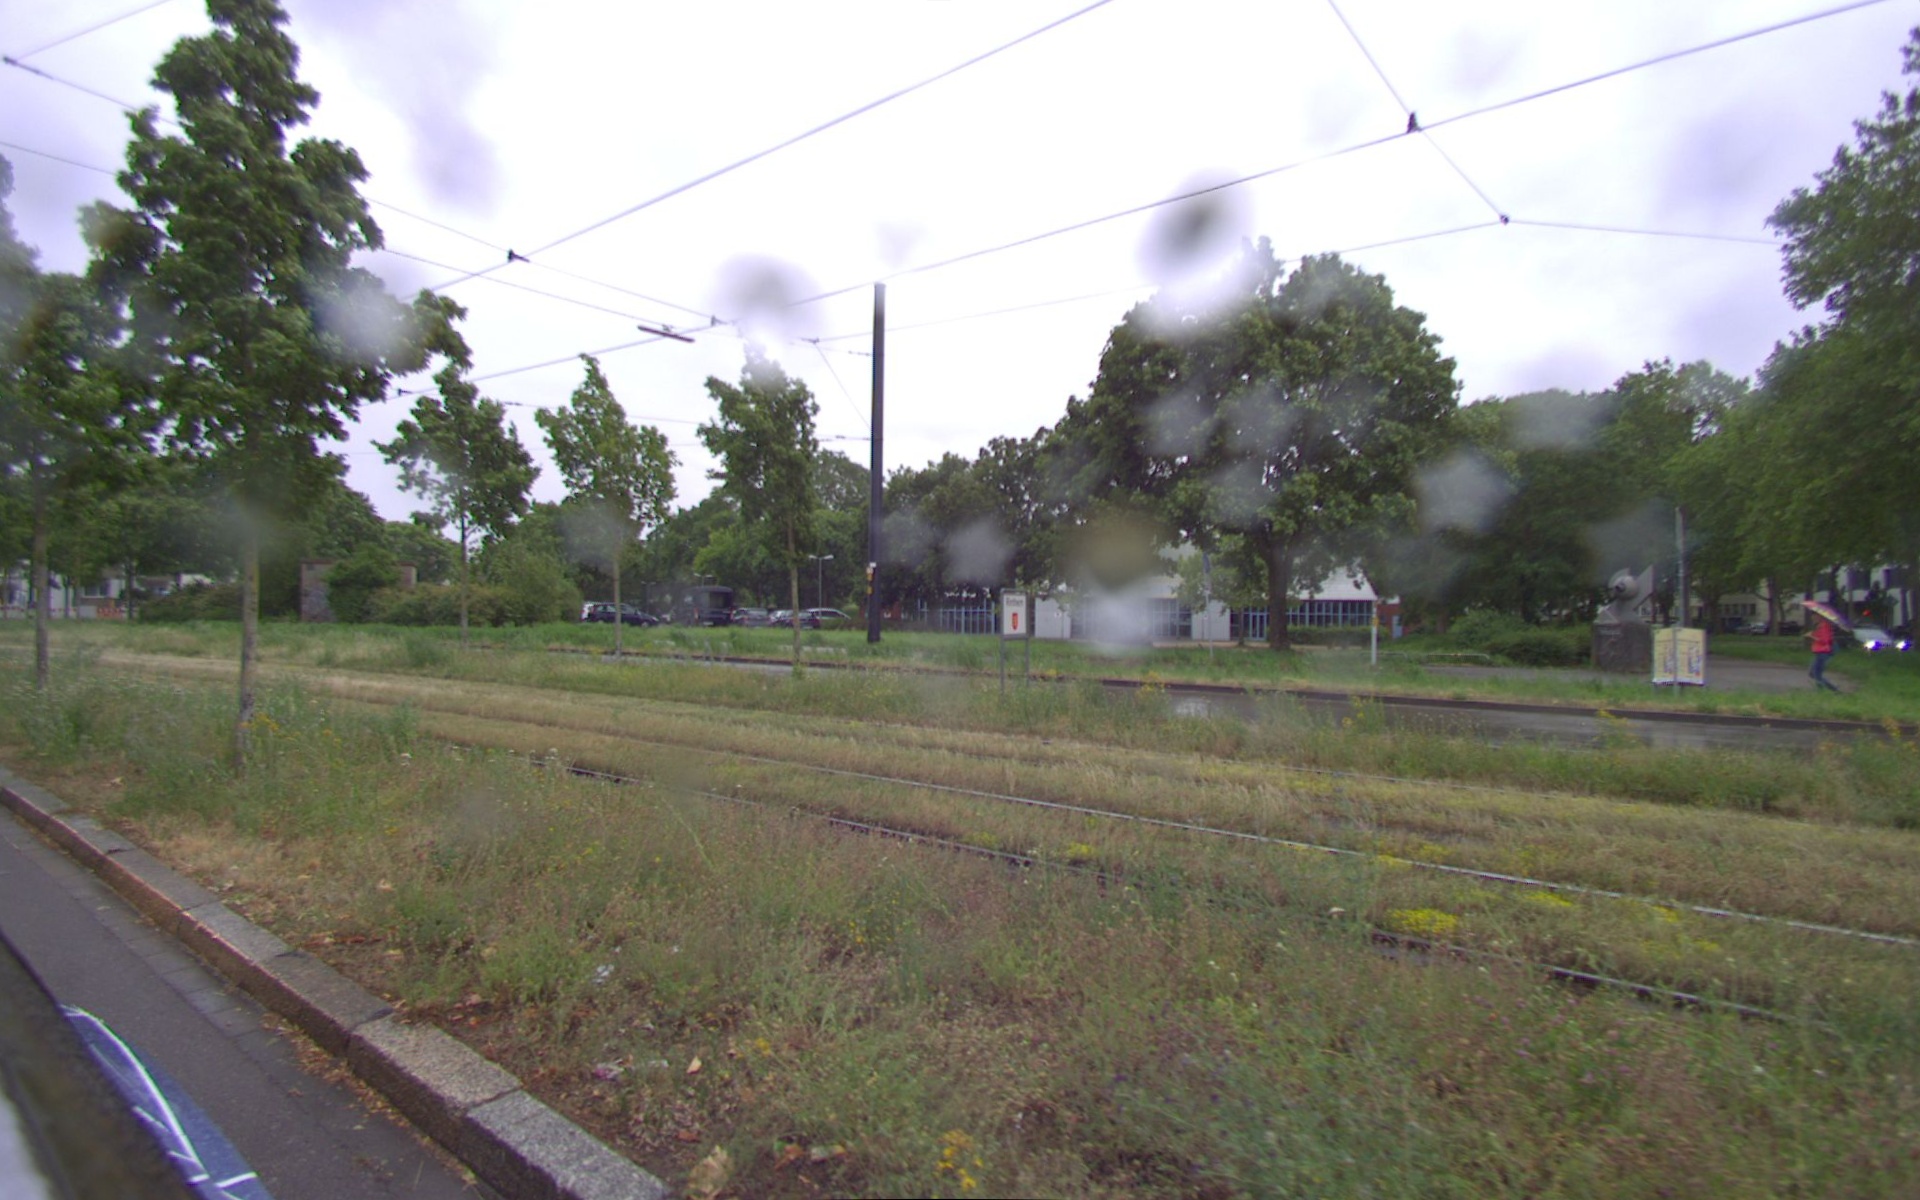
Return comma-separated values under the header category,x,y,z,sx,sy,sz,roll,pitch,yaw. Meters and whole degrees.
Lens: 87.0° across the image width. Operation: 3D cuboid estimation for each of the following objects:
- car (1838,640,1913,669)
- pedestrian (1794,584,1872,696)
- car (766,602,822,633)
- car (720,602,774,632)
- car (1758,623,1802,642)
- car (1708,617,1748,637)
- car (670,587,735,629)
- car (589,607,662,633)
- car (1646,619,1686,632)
category,x,y,z,sx,sy,sz,roll,pitch,yaw
car,47.124,2.792,52.201,1.797,1.417,4.417,0,-3,28
pedestrian,16.106,0.707,18.696,1.006,2.005,0.942,0,0,36
car,-9.069,0.911,54.933,2.026,1.584,5.032,0,0,-21
car,-11.447,0.871,54.054,1.726,1.542,4.865,0,0,-26
car,82.365,3.248,101.699,1.982,1.796,3.979,0,0,16
car,85.643,3.034,112.968,2.108,2.104,3.982,0,0,14
car,-13.357,0.388,52.275,2.273,2.029,5.134,0,0,-26
car,-20.618,1.227,62.365,4.110,1.494,1.789,0,0,-23
car,91.049,3.308,130.549,3.836,1.663,1.882,0,0,10
